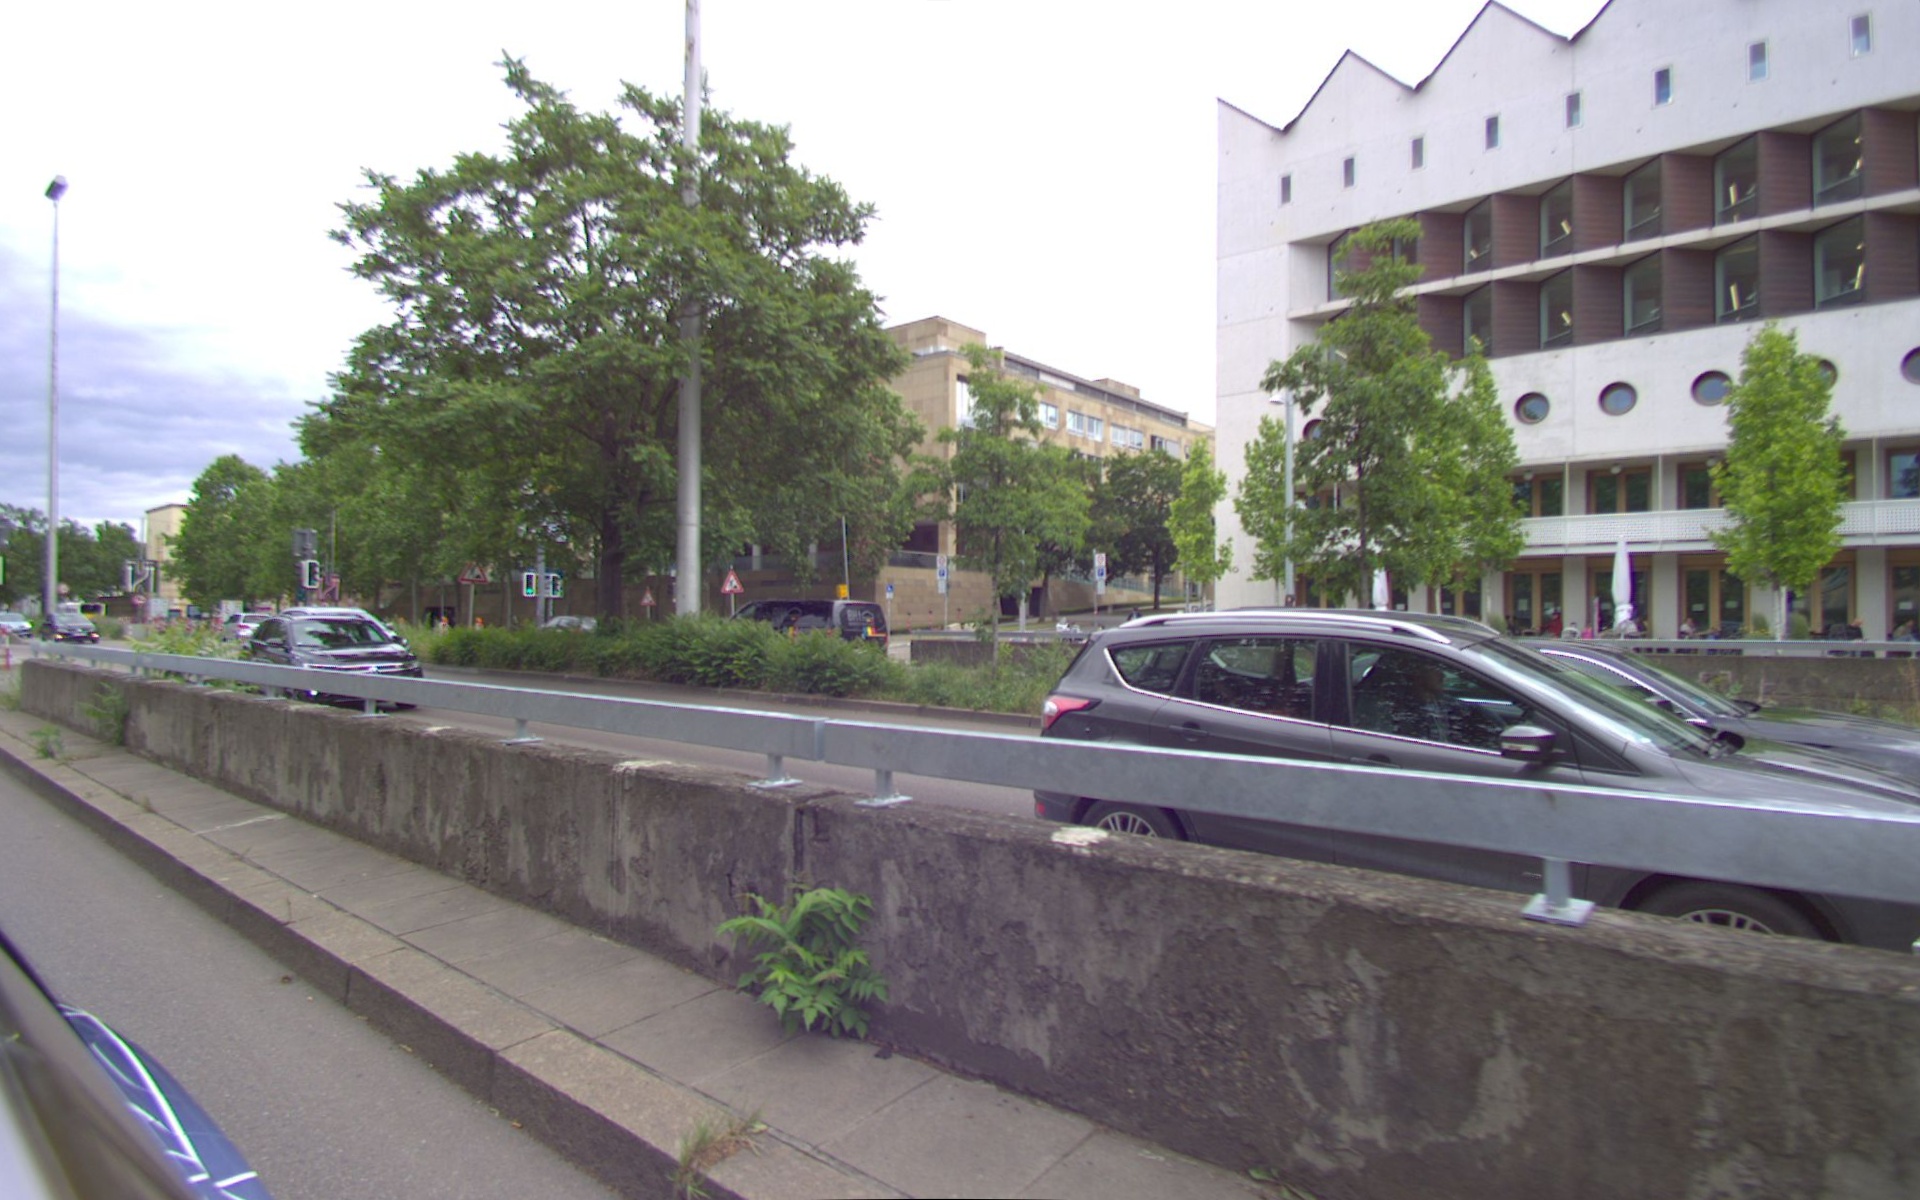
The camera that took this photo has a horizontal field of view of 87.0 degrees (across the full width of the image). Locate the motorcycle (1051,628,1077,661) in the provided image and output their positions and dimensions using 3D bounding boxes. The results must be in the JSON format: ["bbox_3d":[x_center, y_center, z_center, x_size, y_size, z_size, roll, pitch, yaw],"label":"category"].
[{"bbox_3d":[4.040,1.709,39.327,0.653,1.243,1.880,2,-1,15],"label":"motorcycle"}]

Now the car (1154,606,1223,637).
[{"bbox_3d":[11.589,1.062,51.199,1.750,1.285,3.947,-1,2,40],"label":"car"}]

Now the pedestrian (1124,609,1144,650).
[{"bbox_3d":[6.667,1.131,38.884,0.589,1.569,0.883,0,-1,-2],"label":"pedestrian"}]

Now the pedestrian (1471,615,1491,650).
[{"bbox_3d":[19.912,1.249,38.710,0.565,1.337,0.513,1,-2,41],"label":"pedestrian"}]

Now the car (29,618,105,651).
[{"bbox_3d":[-42.274,1.606,47.851,4.805,1.494,1.973,-1,-2,40],"label":"car"}]

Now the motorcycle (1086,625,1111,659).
[{"bbox_3d":[5.247,1.582,38.309,0.653,1.243,1.880,2,-1,15],"label":"motorcycle"}]

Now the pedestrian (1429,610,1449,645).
[{"bbox_3d":[18.822,1.083,39.740,0.565,1.337,0.513,1,-2,41],"label":"pedestrian"}]

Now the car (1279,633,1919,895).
[{"bbox_3d":[5.146,1.022,7.707,4.807,1.494,1.973,-1,-2,41],"label":"car"}]

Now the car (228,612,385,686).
[{"bbox_3d":[-16.033,1.110,24.741,4.735,1.629,1.973,0,-1,41],"label":"car"}]

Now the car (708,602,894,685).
[{"bbox_3d":[-3.732,0.974,23.346,4.444,1.730,1.837,-1,-3,42],"label":"car"}]

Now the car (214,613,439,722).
[{"bbox_3d":[-10.382,0.993,16.491,4.145,1.527,1.747,0,0,37],"label":"car"}]

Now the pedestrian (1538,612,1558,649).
[{"bbox_3d":[21.611,1.104,37.195,0.565,1.337,0.513,1,-2,41],"label":"pedestrian"}]

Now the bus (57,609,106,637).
[{"bbox_3d":[-107.432,2.756,123.672,10.440,3.330,2.883,-1,-2,40],"label":"bus"}]

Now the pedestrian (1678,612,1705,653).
[{"bbox_3d":[24.673,1.093,34.118,0.651,1.337,0.625,-1,-1,43],"label":"pedestrian"}]

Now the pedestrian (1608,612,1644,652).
[{"bbox_3d":[22.480,1.072,34.145,0.777,1.337,0.672,0,-1,-22],"label":"pedestrian"}]

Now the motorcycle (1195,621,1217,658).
[{"bbox_3d":[8.689,1.384,35.685,0.653,1.243,1.880,2,-1,15],"label":"motorcycle"}]

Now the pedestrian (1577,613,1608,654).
[{"bbox_3d":[21.569,1.148,34.510,0.639,1.337,0.636,5,-6,-22],"label":"pedestrian"}]

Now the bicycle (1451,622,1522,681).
[{"bbox_3d":[16.081,1.526,30.843,1.182,1.697,3.577,-2,-2,39],"label":"bicycle"}]

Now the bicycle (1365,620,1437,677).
[{"bbox_3d":[14.060,1.513,32.172,1.182,1.697,3.577,-2,-2,39],"label":"bicycle"}]

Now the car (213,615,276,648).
[{"bbox_3d":[-38.756,1.670,54.803,3.996,1.669,1.739,0,1,39],"label":"car"}]

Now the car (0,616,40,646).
[{"bbox_3d":[-54.652,1.772,58.262,3.997,1.658,1.973,-1,-1,40],"label":"car"}]

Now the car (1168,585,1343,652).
[{"bbox_3d":[8.246,0.536,28.360,4.381,1.730,1.841,-1,-2,35],"label":"car"}]

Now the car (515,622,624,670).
[{"bbox_3d":[-13.623,1.568,35.270,3.995,1.472,1.739,0,1,38],"label":"car"}]

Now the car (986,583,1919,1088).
[{"bbox_3d":[2.532,0.838,5.365,4.655,1.728,1.874,-2,-1,41],"label":"car"}]
